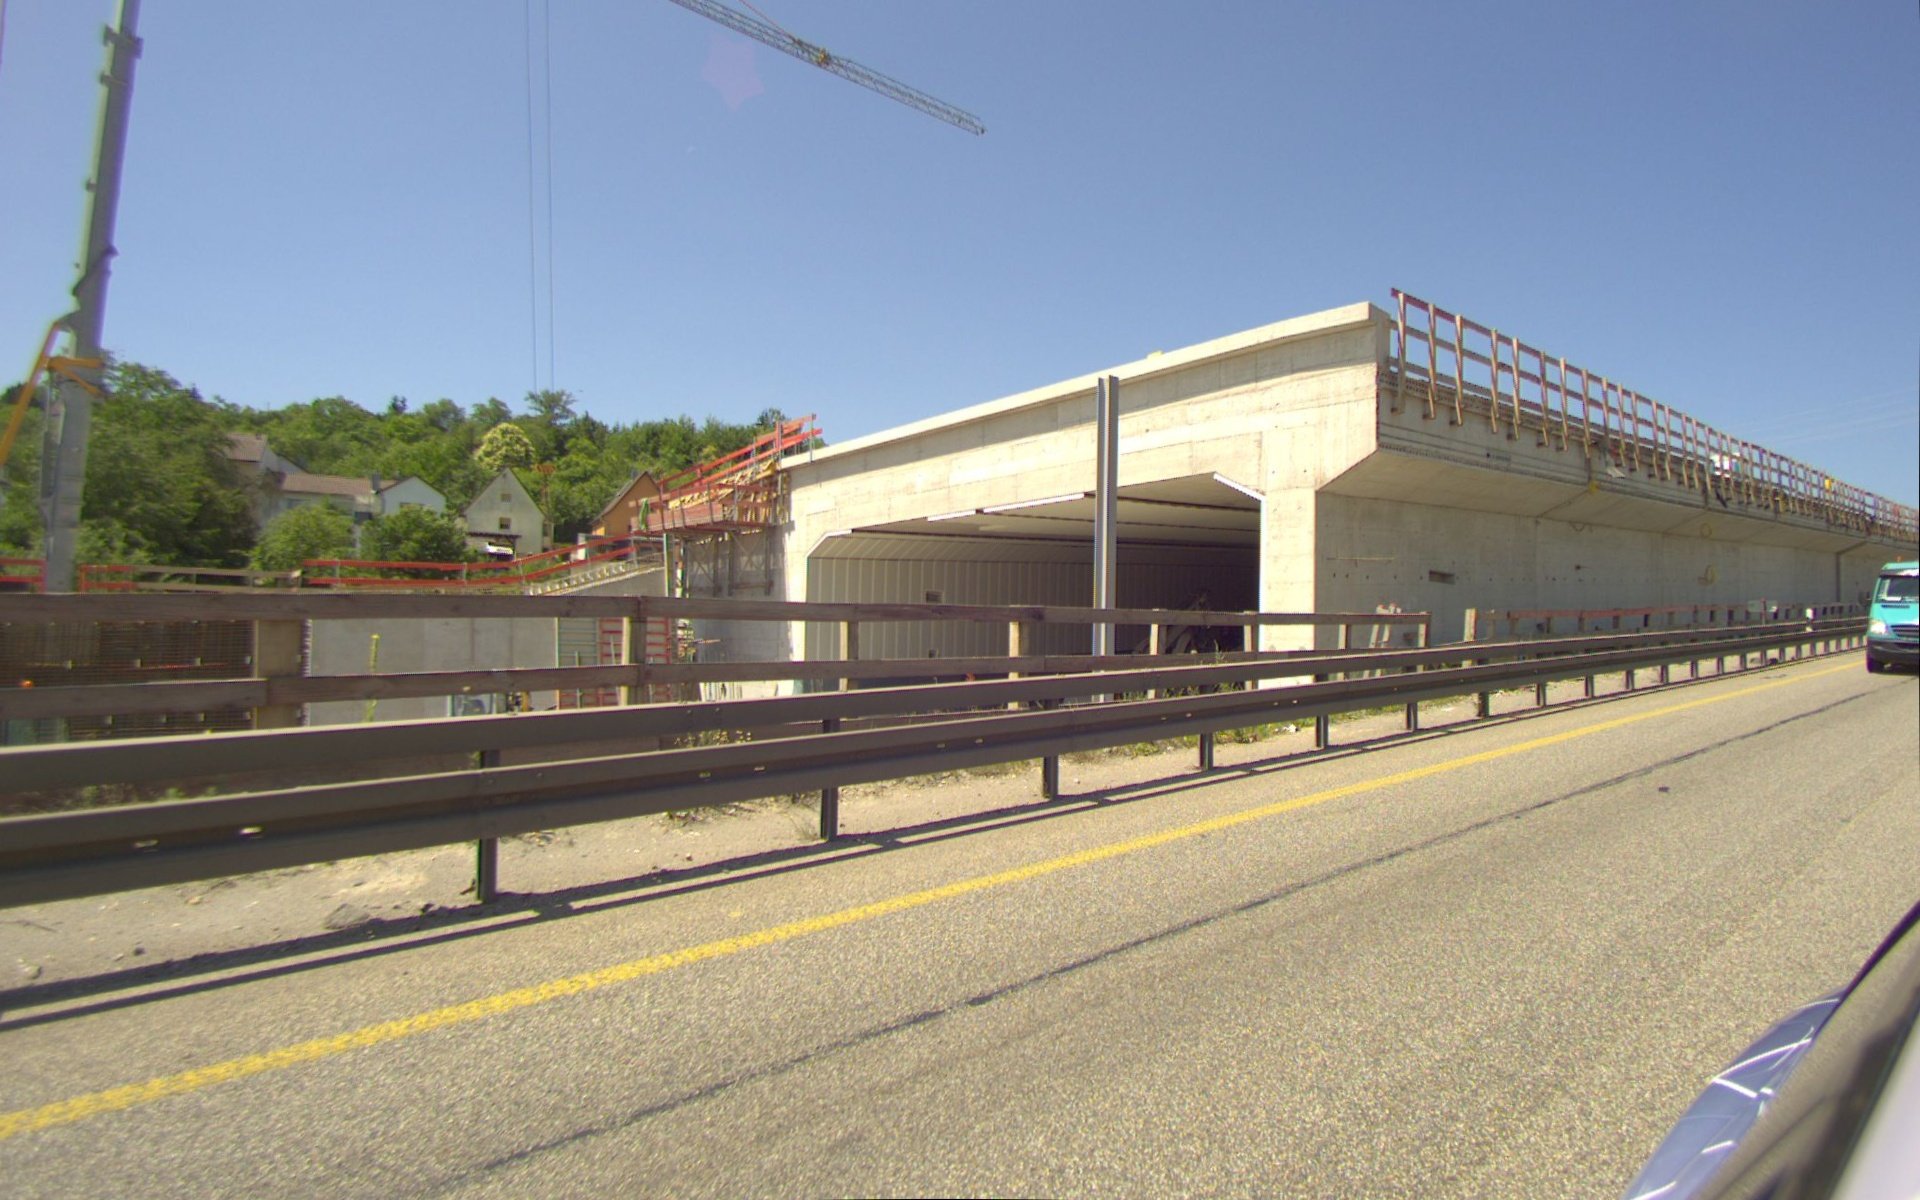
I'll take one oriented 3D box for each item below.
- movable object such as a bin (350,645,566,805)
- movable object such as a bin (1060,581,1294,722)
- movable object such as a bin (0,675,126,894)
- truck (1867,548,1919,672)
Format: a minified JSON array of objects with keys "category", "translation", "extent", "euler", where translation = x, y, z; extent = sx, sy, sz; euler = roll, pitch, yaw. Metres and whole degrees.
[{"category":"movable object such as a bin","translation":[-11.173,2.921,23.378],"extent":[3.425,2.941,7.159],"euler":[-1,-8,-18]},{"category":"movable object such as a bin","translation":[7.559,1.467,34.292],"extent":[8.998,4.113,2.958],"euler":[-2,1,-41]},{"category":"movable object such as a bin","translation":[-14.767,2.622,13.547],"extent":[5.398,2.710,2.151],"euler":[-2,1,-36]},{"category":"truck","translation":[21.452,0.103,21.615],"extent":[7.303,2.386,2.138],"euler":[-2,1,-40]}]
